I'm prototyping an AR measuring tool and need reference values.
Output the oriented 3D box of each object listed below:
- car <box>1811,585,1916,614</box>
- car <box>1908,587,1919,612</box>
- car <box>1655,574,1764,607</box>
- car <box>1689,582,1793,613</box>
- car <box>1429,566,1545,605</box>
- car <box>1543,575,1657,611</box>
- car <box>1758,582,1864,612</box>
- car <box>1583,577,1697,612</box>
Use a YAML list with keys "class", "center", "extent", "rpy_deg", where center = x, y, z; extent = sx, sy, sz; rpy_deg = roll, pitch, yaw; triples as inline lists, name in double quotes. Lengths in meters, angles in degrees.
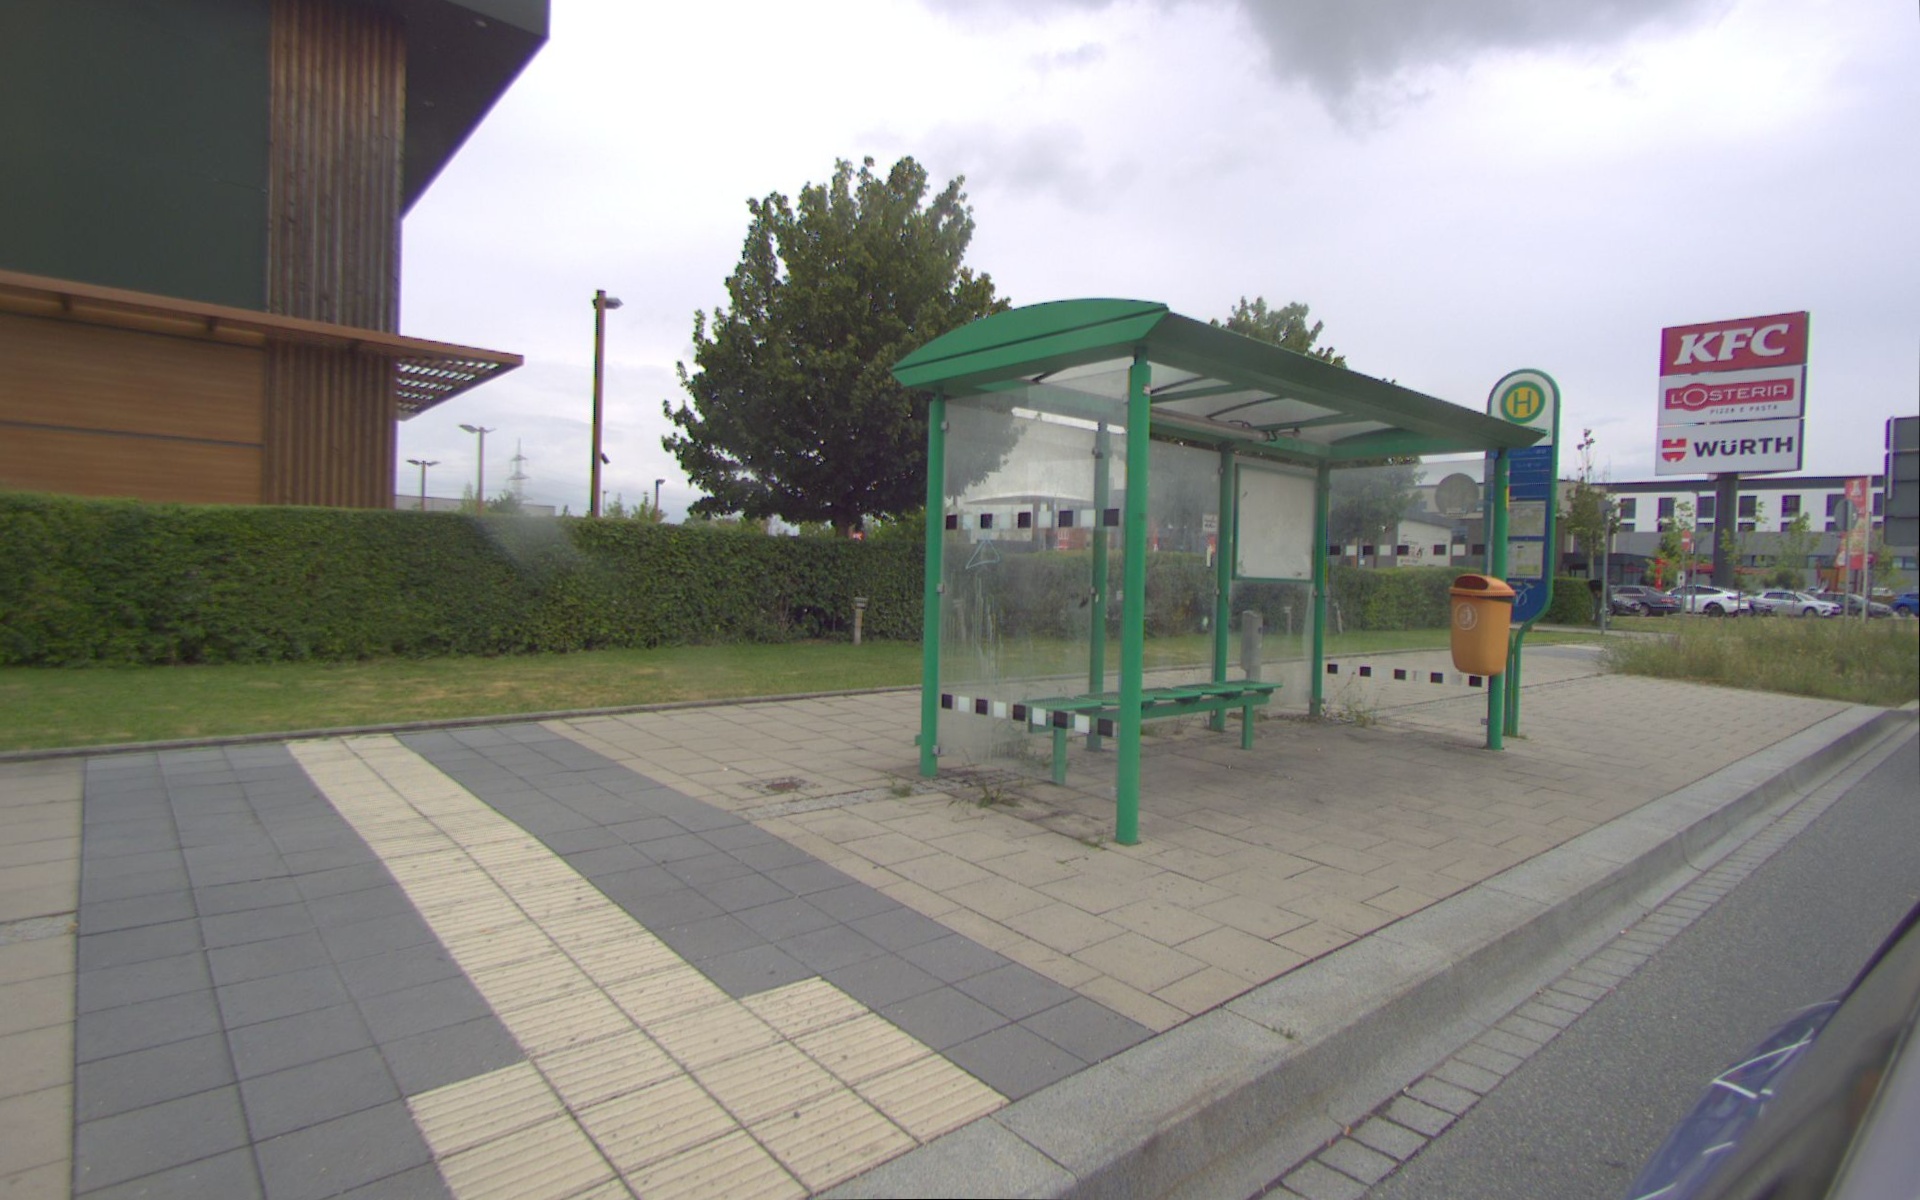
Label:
- class: "car"
  center: [50.898, -0.047, 57.086]
  extent: [1.809, 1.504, 4.007]
  rpy_deg: [1, 2, -28]
- class: "car"
  center: [59.718, -0.036, 60.510]
  extent: [1.809, 1.504, 4.007]
  rpy_deg: [-1, 1, -23]
- class: "car"
  center: [37.743, -0.481, 51.024]
  extent: [1.811, 1.541, 4.004]
  rpy_deg: [0, 2, -32]
- class: "car"
  center: [41.755, -0.156, 54.168]
  extent: [1.811, 1.504, 4.003]
  rpy_deg: [0, 2, -32]
- class: "car"
  center: [22.488, -0.638, 43.299]
  extent: [1.814, 1.546, 3.996]
  rpy_deg: [0, 2, -39]
- class: "car"
  center: [29.279, -0.343, 46.399]
  extent: [1.811, 1.504, 4.004]
  rpy_deg: [0, 2, -32]
- class: "car"
  center: [46.508, -0.169, 55.400]
  extent: [1.809, 1.504, 4.007]
  rpy_deg: [1, 2, -28]
- class: "car"
  center: [31.855, -0.297, 47.513]
  extent: [1.811, 1.504, 4.004]
  rpy_deg: [0, 2, -32]
